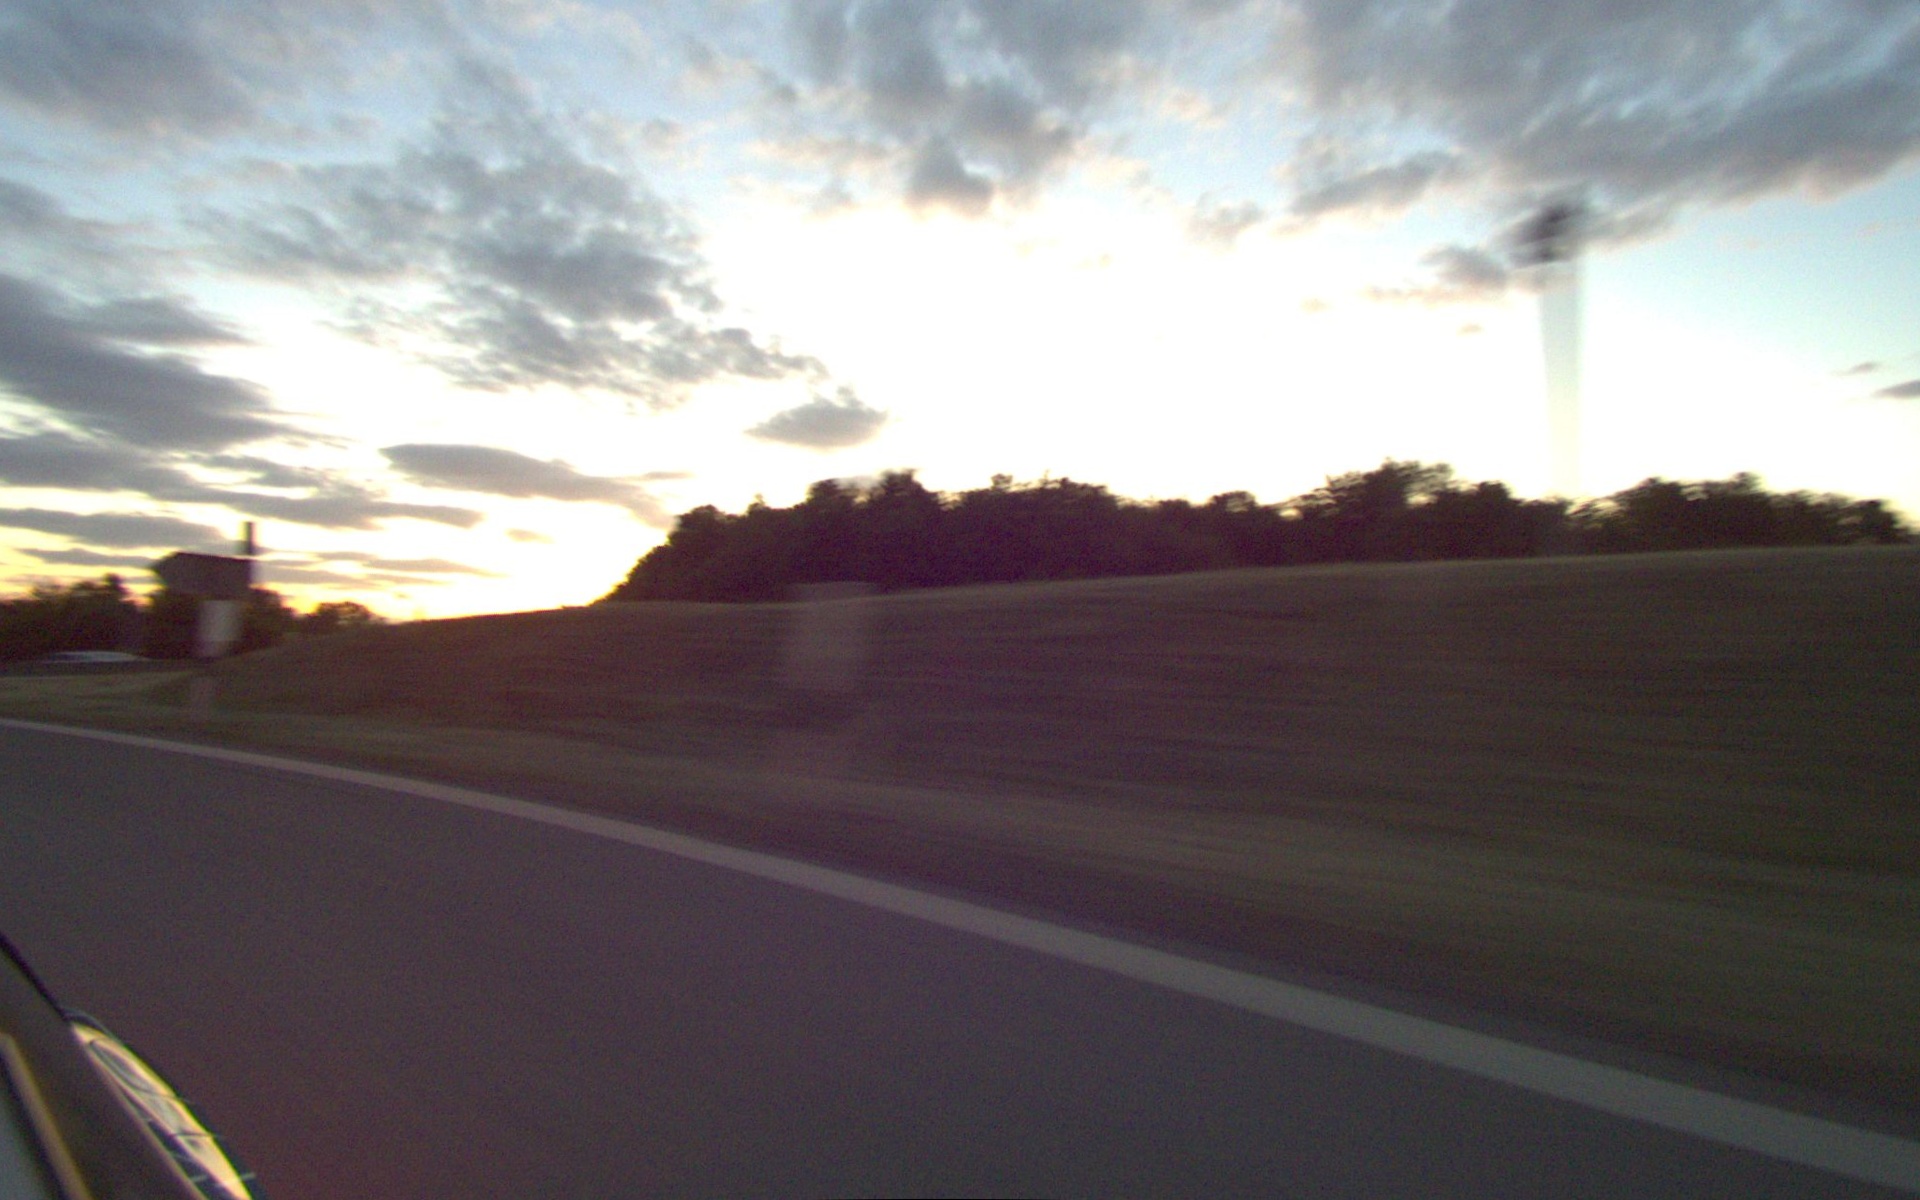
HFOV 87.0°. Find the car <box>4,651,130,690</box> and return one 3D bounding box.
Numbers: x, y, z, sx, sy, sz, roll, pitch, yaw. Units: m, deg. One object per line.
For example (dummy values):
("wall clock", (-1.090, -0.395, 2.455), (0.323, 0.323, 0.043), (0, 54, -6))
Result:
("car", (-41.256, 3.228, 46.852), (3.937, 1.494, 2.003), (-2, 0, -7))

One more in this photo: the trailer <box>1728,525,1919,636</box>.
("trailer", (38.043, -0.789, 39.793), (14.582, 3.946, 2.787), (-1, -5, -8))
